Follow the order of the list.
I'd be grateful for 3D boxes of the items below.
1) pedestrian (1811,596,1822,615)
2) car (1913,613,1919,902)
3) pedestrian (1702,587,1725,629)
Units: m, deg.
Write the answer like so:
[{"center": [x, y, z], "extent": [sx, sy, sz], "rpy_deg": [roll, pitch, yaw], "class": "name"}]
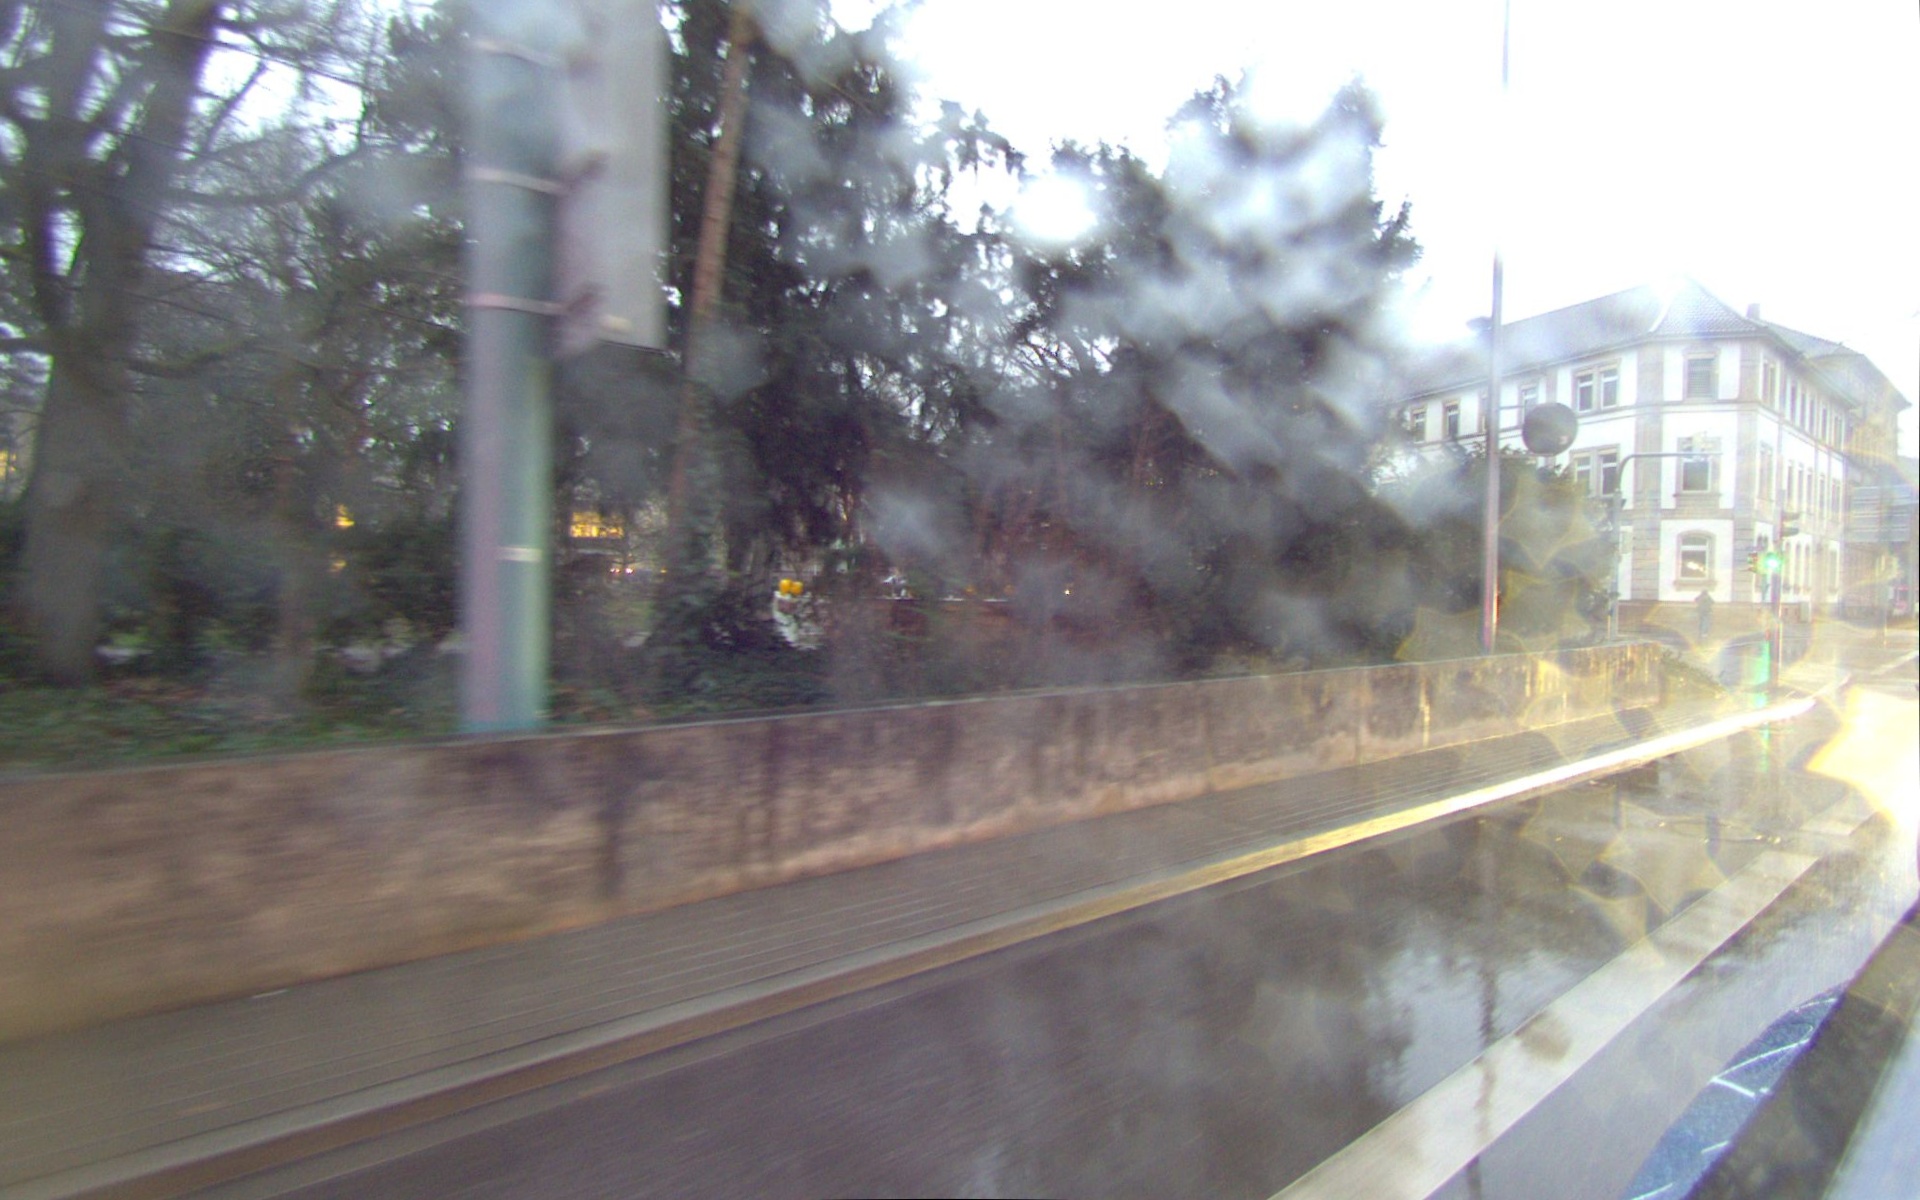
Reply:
[{"center": [41.459, 0.269, 48.999], "extent": [0.370, 0.917, 0.325], "rpy_deg": [0, 1, -41], "class": "pedestrian"}, {"center": [6.668, 0.746, 5.509], "extent": [3.912, 1.388, 1.796], "rpy_deg": [-1, 0, -41], "class": "car"}, {"center": [27.499, 0.290, 36.952], "extent": [0.515, 1.529, 0.583], "rpy_deg": [1, 1, 24], "class": "pedestrian"}]
